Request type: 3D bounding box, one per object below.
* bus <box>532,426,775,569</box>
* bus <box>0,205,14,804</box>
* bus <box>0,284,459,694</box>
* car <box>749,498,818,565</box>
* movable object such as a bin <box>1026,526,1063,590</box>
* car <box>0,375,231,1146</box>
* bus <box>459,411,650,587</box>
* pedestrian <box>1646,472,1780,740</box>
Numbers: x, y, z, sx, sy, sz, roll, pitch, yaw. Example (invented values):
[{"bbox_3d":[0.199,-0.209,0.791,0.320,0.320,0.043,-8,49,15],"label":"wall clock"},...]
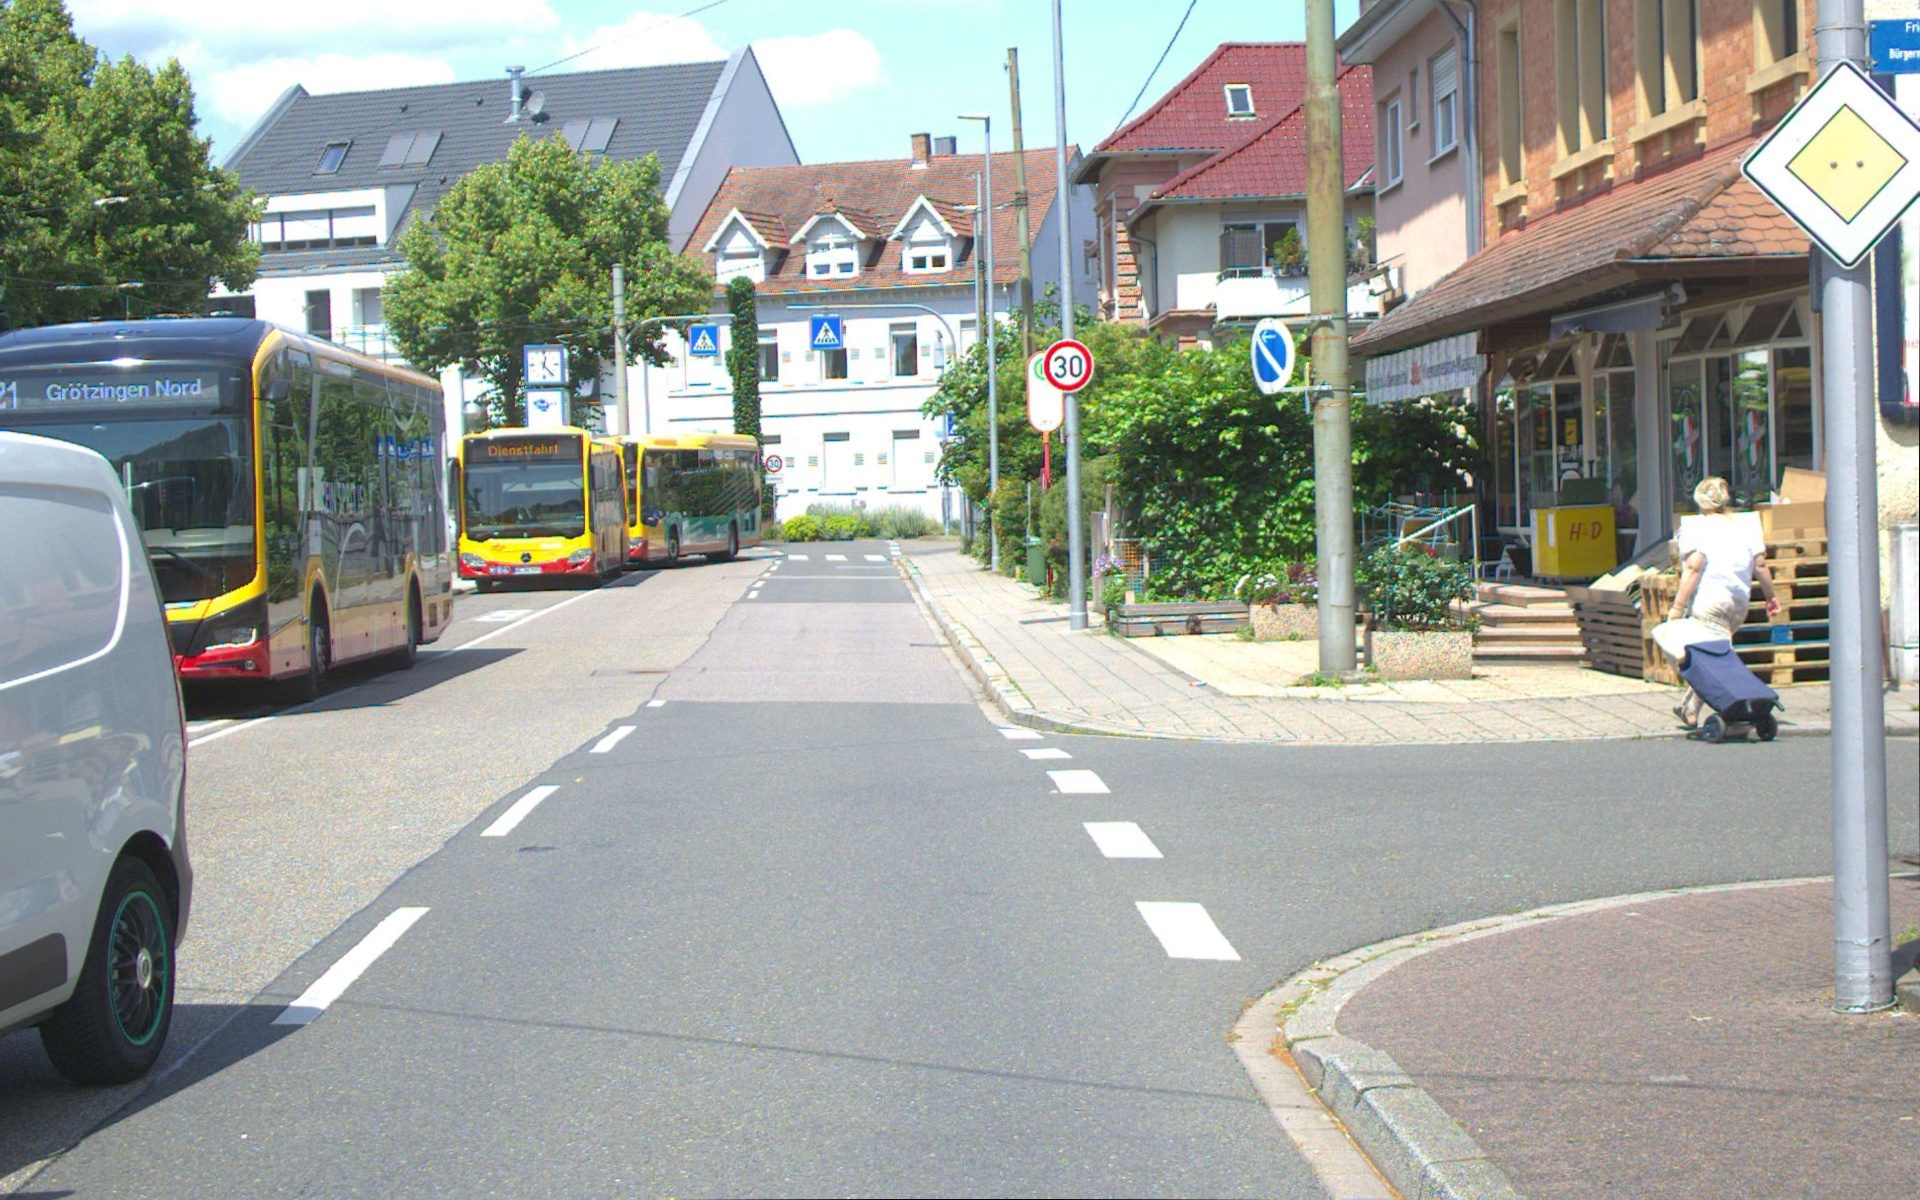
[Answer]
[{"bbox_3d":[-7.208,-2.555,83.104,2.781,3.197,12.303,1,2,10],"label":"bus"},{"bbox_3d":[-6.703,-0.514,13.848,2.907,3.415,12.041,0,0,-2],"label":"bus"},{"bbox_3d":[-7.066,-0.919,33.384,2.898,3.236,12.197,0,0,-1],"label":"bus"},{"bbox_3d":[-5.451,-2.105,106.304,1.993,2.007,4.000,0,0,-1],"label":"car"},{"bbox_3d":[1.243,-0.616,50.641,0.406,0.904,0.729,-5,1,-5],"label":"movable object such as a bin"},{"bbox_3d":[-3.202,0.382,7.703,1.704,1.844,4.712,0,0,6],"label":"car"},{"bbox_3d":[-8.042,-2.004,69.605,2.907,3.236,12.120,0,1,-2],"label":"bus"},{"bbox_3d":[4.771,0.033,21.759,0.705,1.635,0.659,-2,3,19],"label":"pedestrian"}]
